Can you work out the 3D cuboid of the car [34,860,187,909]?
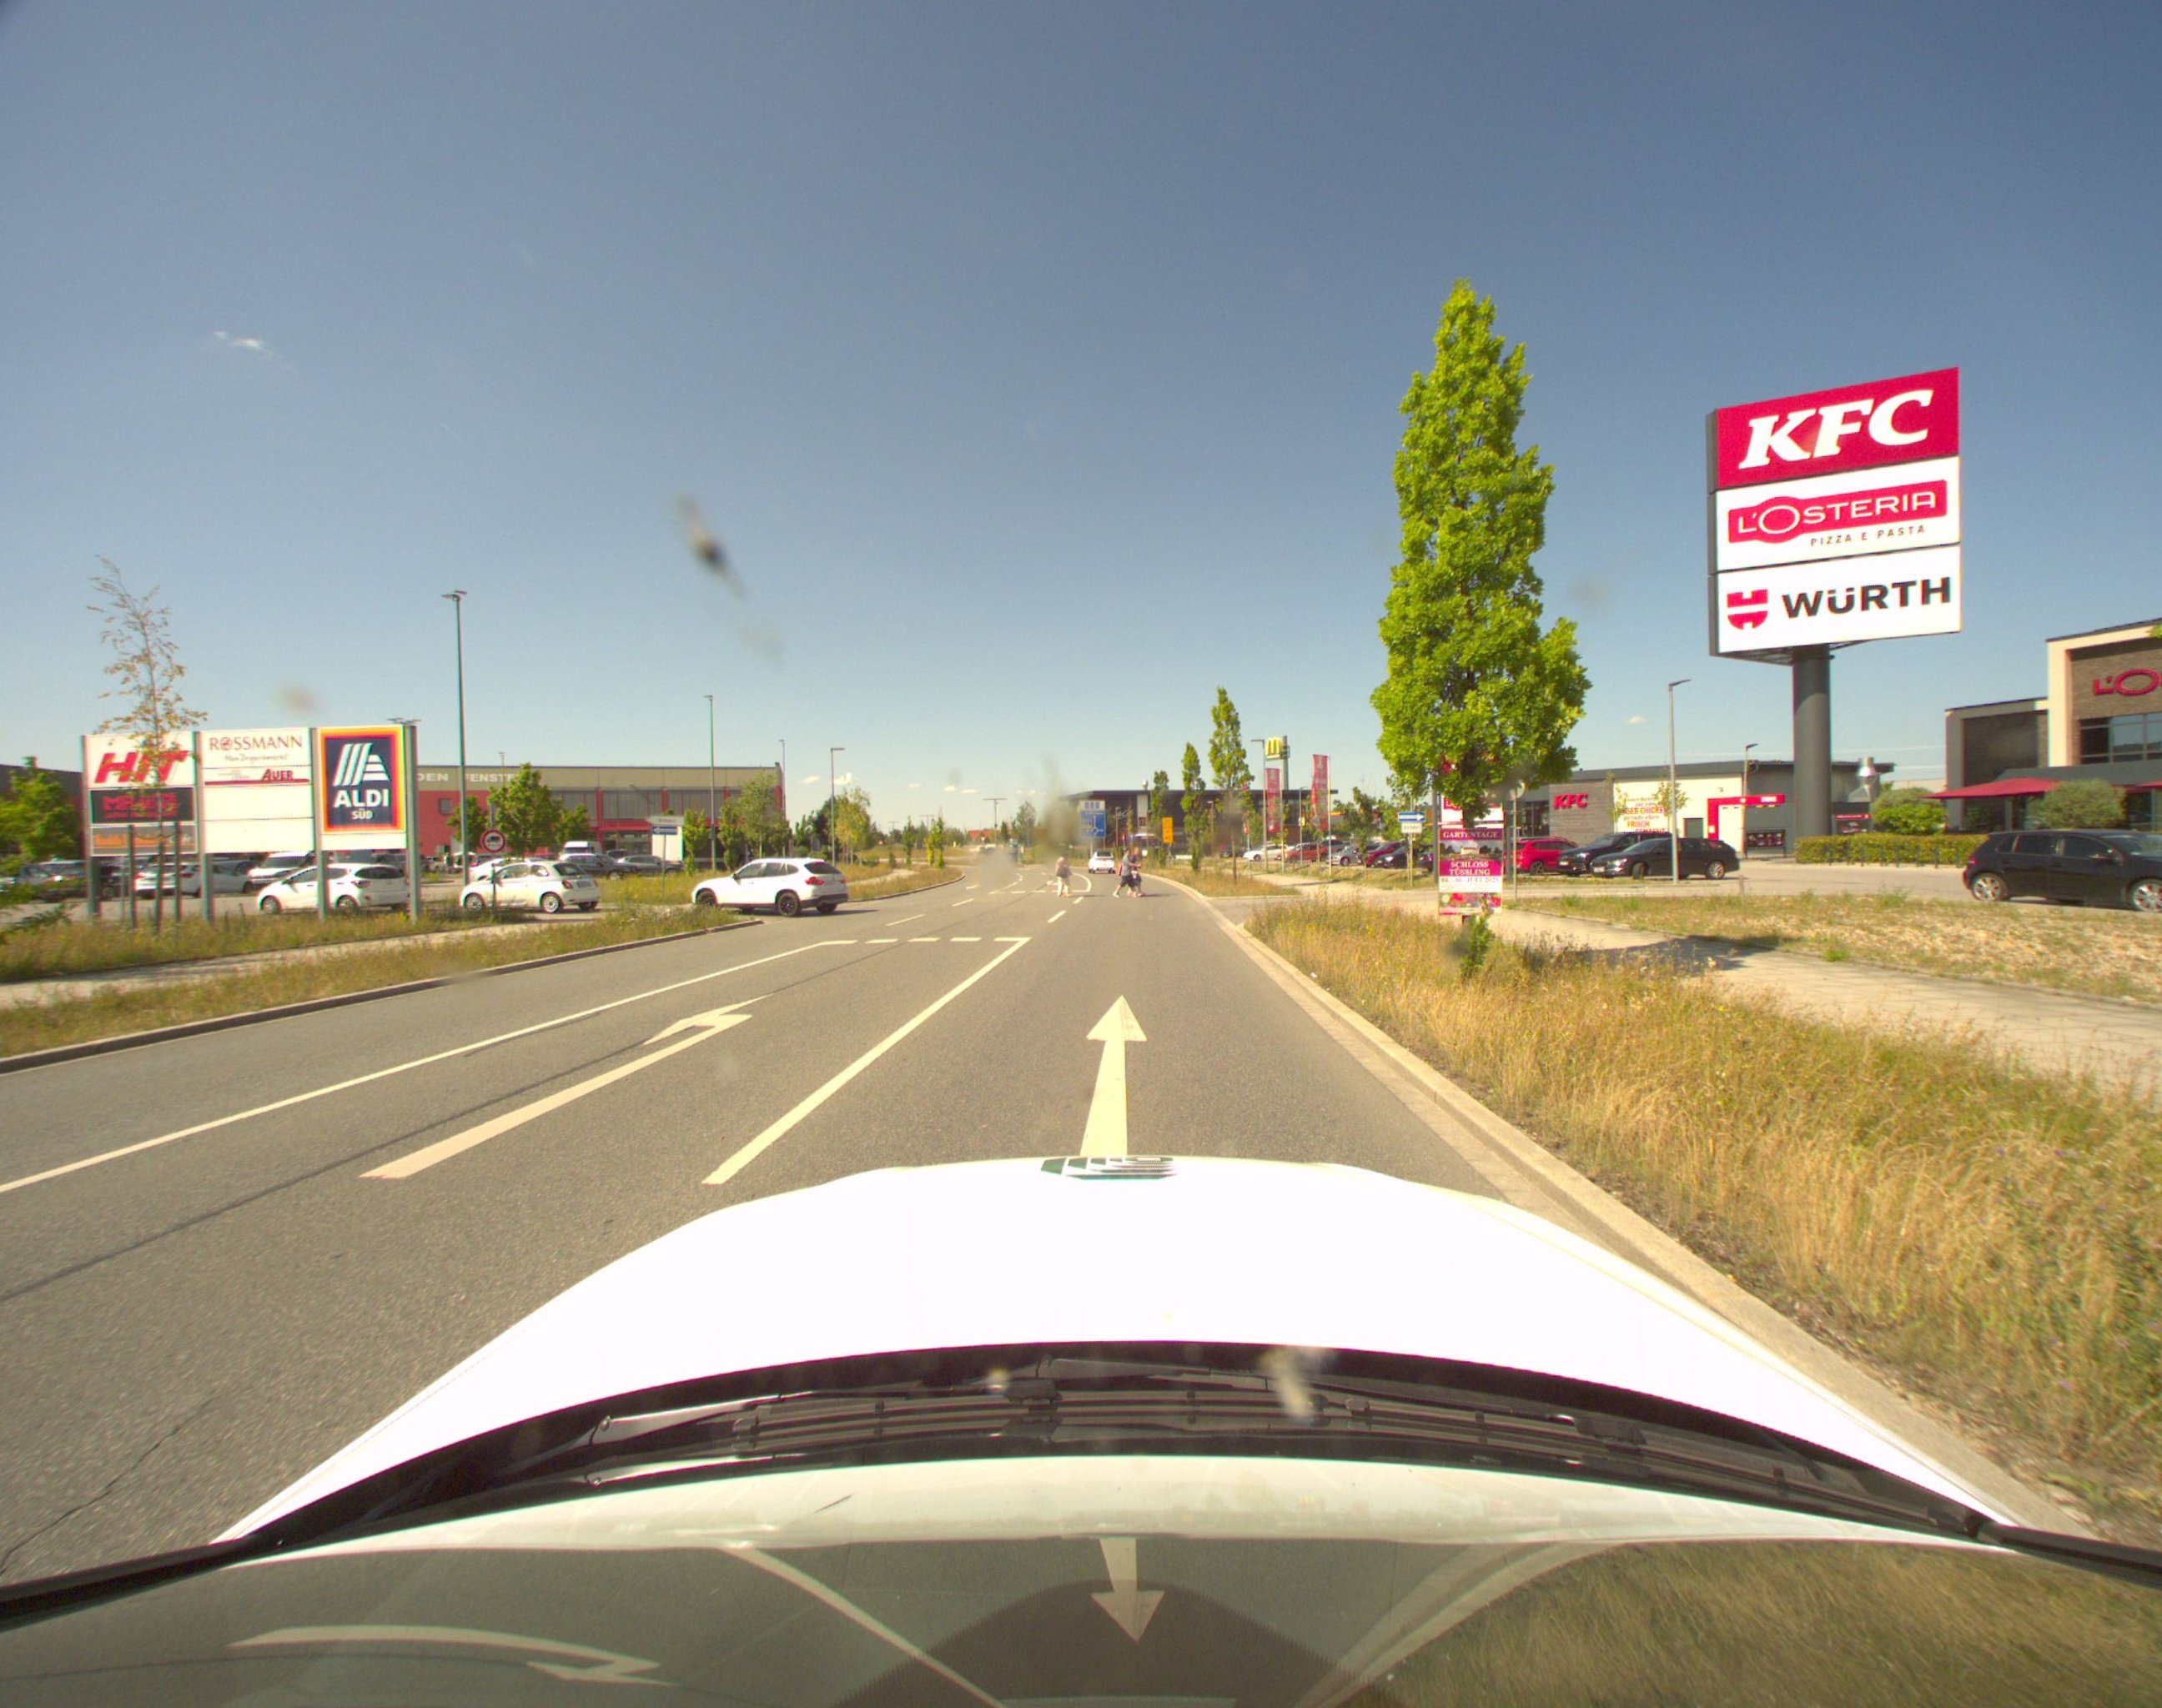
[{"bbox_3d":[-39.351,1.169,33.210,1.916,1.803,4.356,-1,0,-18],"label":"car"}]

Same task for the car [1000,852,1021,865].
[{"bbox_3d":[-7.983,0.481,92.470,1.620,1.434,3.771,-1,0,-17],"label":"car"}]

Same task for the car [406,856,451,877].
[{"bbox_3d":[-53.935,0.998,67.399,1.667,1.614,4.055,-1,0,-21],"label":"car"}]

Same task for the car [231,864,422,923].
[{"bbox_3d":[-22.360,1.147,24.233,3.969,1.547,1.920,-1,0,4],"label":"car"}]

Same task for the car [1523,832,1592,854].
[{"bbox_3d":[34.637,-0.813,59.209,4.570,1.431,1.856,-3,1,-20],"label":"car"}]

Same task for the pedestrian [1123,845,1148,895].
[{"bbox_3d":[1.788,0.513,26.956,0.798,1.629,0.805,-1,0,2],"label":"pedestrian"}]

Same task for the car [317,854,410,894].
[{"bbox_3d":[-35.800,0.940,40.784,1.837,1.823,4.356,-1,0,-18],"label":"car"}]

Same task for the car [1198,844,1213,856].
[{"bbox_3d":[16.827,-0.575,109.796,1.781,1.604,4.013,-2,0,12],"label":"car"}]

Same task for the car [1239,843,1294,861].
[{"bbox_3d":[17.134,-0.194,75.283,4.530,1.490,1.861,-2,1,-13],"label":"car"}]

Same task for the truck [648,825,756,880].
[{"bbox_3d":[-25.702,-0.109,55.689,2.299,3.464,7.524,-1,0,15],"label":"truck"}]

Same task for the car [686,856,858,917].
[{"bbox_3d":[-8.604,0.881,22.700,4.177,1.547,1.927,-1,0,19],"label":"car"}]

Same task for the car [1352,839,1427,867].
[{"bbox_3d":[20.209,-0.085,53.439,4.147,1.665,1.866,-2,1,-5],"label":"car"}]

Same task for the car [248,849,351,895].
[{"bbox_3d":[-37.971,0.811,39.729,1.837,2.064,4.356,-1,0,-18],"label":"car"}]

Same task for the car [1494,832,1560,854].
[{"bbox_3d":[33.821,-0.845,61.780,4.570,1.431,1.856,-3,1,-20],"label":"car"}]

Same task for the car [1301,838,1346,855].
[{"bbox_3d":[25.083,-0.771,84.172,4.170,1.635,1.779,-2,0,-21],"label":"car"}]

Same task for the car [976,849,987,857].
[{"bbox_3d":[-19.548,-0.271,159.370,1.993,1.464,3.988,-2,1,-9],"label":"car"}]

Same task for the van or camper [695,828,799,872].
[{"bbox_3d":[-27.937,-0.374,68.531,7.703,3.468,2.544,-1,0,-14],"label":"van or camper"}]

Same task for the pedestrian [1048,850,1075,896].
[{"bbox_3d":[-0.618,0.615,26.502,0.789,1.470,0.949,-1,0,2],"label":"pedestrian"}]

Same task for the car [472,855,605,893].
[{"bbox_3d":[-24.157,0.876,36.396,4.597,1.512,1.835,-1,0,-4],"label":"car"}]

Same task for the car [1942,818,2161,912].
[{"bbox_3d":[18.758,0.153,14.887,1.773,1.540,4.172,-1,0,3],"label":"car"}]

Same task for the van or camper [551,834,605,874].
[{"bbox_3d":[-44.221,-0.013,71.843,2.437,3.271,7.189,-1,0,-19],"label":"van or camper"}]

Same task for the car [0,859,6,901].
[{"bbox_3d":[-44.633,1.083,31.532,1.922,1.718,4.342,-1,0,-28],"label":"car"}]

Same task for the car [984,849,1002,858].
[{"bbox_3d":[-15.397,-0.145,143.183,1.980,1.440,4.013,-1,1,11],"label":"car"}]

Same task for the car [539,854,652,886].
[{"bbox_3d":[-24.735,0.800,41.584,4.566,1.458,1.835,-1,0,-4],"label":"car"}]

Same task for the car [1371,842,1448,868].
[{"bbox_3d":[20.565,0.051,51.045,4.155,1.449,1.785,-2,1,-11],"label":"car"}]

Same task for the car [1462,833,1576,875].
[{"bbox_3d":[20.596,-0.011,38.419,4.393,1.734,1.790,-2,1,-2],"label":"car"}]

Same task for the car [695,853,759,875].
[{"bbox_3d":[-27.794,0.785,64.043,4.375,1.552,1.829,-1,0,-15],"label":"car"}]

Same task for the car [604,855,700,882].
[{"bbox_3d":[-24.599,0.800,46.864,4.415,1.383,1.973,-1,0,-4],"label":"car"}]

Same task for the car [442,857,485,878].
[{"bbox_3d":[-50.970,1.086,67.287,1.667,1.614,4.055,-1,0,-21],"label":"car"}]

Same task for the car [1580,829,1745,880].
[{"bbox_3d":[20.209,-0.007,28.417,4.397,1.566,1.993,-2,1,-4],"label":"car"}]

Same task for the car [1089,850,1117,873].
[{"bbox_3d":[1.419,0.467,54.075,1.612,1.434,3.789,-1,0,-2],"label":"car"}]

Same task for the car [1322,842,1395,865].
[{"bbox_3d":[19.758,-0.053,58.043,4.553,1.490,1.863,-2,1,-9],"label":"car"}]

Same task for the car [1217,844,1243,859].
[{"bbox_3d":[15.688,-0.316,85.641,1.682,1.462,4.193,-2,0,24],"label":"car"}]

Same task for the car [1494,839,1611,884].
[{"bbox_3d":[20.641,0.298,35.696,4.410,1.734,1.784,-2,1,-13],"label":"car"}]

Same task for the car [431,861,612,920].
[{"bbox_3d":[-16.191,1.027,23.687,3.967,1.547,1.920,-1,0,5],"label":"car"}]

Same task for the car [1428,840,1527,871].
[{"bbox_3d":[20.842,0.087,42.978,4.378,1.449,1.797,-2,1,10],"label":"car"}]

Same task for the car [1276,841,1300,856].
[{"bbox_3d":[22.493,-0.592,88.351,1.769,1.579,4.193,-2,0,24],"label":"car"}]

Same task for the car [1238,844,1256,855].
[{"bbox_3d":[22.778,-0.643,111.759,1.777,1.513,4.021,-2,0,21],"label":"car"}]

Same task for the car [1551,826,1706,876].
[{"bbox_3d":[21.704,-0.121,32.396,4.971,1.734,1.937,-2,1,-4],"label":"car"}]

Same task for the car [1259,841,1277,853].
[{"bbox_3d":[26.147,-0.989,113.528,1.777,1.701,4.022,-2,0,22],"label":"car"}]

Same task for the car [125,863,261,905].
[{"bbox_3d":[-36.522,1.185,33.680,1.837,1.512,4.356,-1,0,-18],"label":"car"}]

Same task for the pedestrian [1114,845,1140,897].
[{"bbox_3d":[1.472,0.527,26.237,0.806,1.628,0.866,-1,0,2],"label":"pedestrian"}]

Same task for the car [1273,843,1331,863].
[{"bbox_3d":[18.408,-0.122,67.897,4.208,1.490,1.861,-2,1,-13],"label":"car"}]

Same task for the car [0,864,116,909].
[{"bbox_3d":[-41.955,1.279,32.787,1.916,1.617,4.356,-1,0,-18],"label":"car"}]
